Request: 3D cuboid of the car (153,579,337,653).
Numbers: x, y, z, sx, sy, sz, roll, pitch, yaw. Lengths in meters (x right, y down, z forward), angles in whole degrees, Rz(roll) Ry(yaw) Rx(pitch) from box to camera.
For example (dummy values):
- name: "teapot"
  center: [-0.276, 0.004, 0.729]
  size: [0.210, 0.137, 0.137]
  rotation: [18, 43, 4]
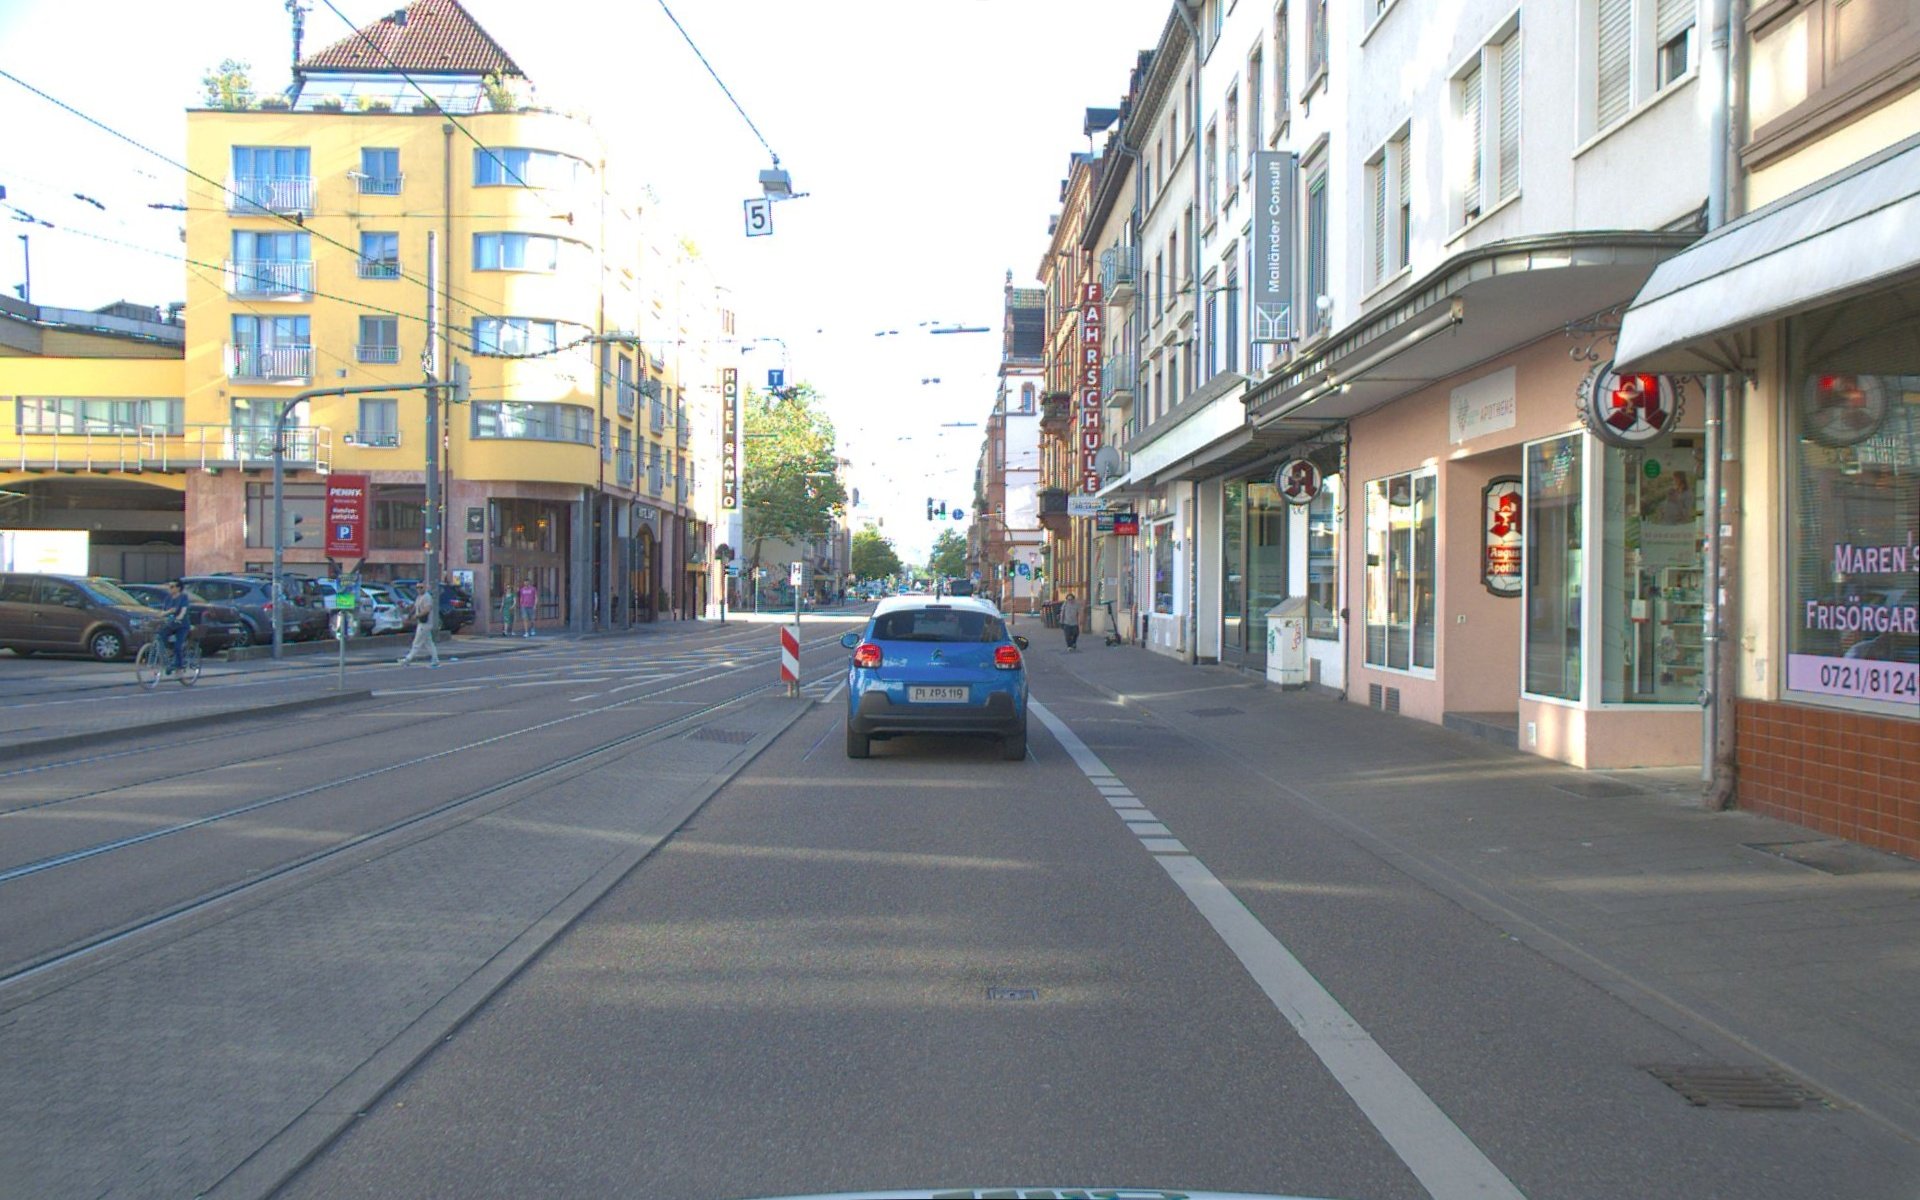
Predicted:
- name: "car"
  center: [-17.136, 0.372, 39.770]
  size: [3.614, 1.702, 1.785]
  rotation: [0, 0, -1]

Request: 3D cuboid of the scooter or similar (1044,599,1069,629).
- name: "scooter or similar"
  center: [3.999, 0.575, 68.478]
  size: [0.915, 1.168, 0.650]
  rotation: [-4, 0, -3]

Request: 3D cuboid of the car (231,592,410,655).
- name: "car"
  center: [-17.294, 0.637, 44.854]
  size: [4.147, 1.638, 1.785]
  rotation: [-1, -1, -1]

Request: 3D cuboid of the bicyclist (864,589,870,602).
- name: "bicyclist"
  center: [-10.693, -0.504, 190.866]
  size: [0.668, 1.509, 0.778]
  rotation: [0, 0, -2]

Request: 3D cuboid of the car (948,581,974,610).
- name: "car"
  center: [0.103, -0.413, 149.769]
  size: [2.225, 2.479, 5.718]
  rotation: [0, 0, -1]

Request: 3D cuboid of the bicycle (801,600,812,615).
- name: "bicycle"
  center: [-11.516, 0.536, 123.886]
  size: [0.716, 1.084, 2.061]
  rotation: [0, 0, -3]

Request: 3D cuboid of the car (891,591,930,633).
- name: "car"
  center: [-2.495, 0.580, 83.634]
  size: [1.953, 2.049, 3.999]
  rotation: [0, 0, -2]

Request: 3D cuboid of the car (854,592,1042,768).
- name: "car"
  center: [-0.119, 0.696, 16.584]
  size: [1.640, 1.503, 4.000]
  rotation: [-1, 0, 0]

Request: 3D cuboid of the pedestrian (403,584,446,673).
- name: "pedestrian"
  center: [-11.021, 0.581, 34.029]
  size: [0.700, 1.795, 0.779]
  rotation: [0, 0, -8]

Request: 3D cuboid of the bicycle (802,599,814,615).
- name: "bicycle"
  center: [-10.852, 0.515, 117.909]
  size: [0.716, 1.107, 2.060]
  rotation: [0, 0, -3]

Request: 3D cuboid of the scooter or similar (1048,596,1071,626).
- name: "scooter or similar"
  center: [4.018, 0.449, 66.968]
  size: [0.775, 1.168, 0.789]
  rotation: [-4, 0, -3]

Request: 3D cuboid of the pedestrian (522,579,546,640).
- name: "pedestrian"
  center: [-13.925, 0.319, 54.062]
  size: [0.624, 1.980, 0.709]
  rotation: [0, 0, -3]

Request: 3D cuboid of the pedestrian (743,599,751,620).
- name: "pedestrian"
  center: [-15.821, 0.711, 123.086]
  size: [0.531, 1.579, 0.516]
  rotation: [0, 0, -3]

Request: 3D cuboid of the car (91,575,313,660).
- name: "car"
  center: [-16.992, 0.376, 37.198]
  size: [4.147, 1.843, 1.785]
  rotation: [0, 0, -1]

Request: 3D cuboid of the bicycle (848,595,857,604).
- name: "bicycle"
  center: [-15.614, -0.090, 240.979]
  size: [1.099, 1.342, 3.639]
  rotation: [0, 0, -7]

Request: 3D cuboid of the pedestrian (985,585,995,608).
- name: "pedestrian"
  center: [2.437, -0.280, 132.844]
  size: [0.691, 1.814, 0.672]
  rotation: [2, -2, -3]

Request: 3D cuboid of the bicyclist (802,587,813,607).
- name: "bicyclist"
  center: [-10.824, -0.215, 117.637]
  size: [0.709, 1.405, 1.227]
  rotation: [1, 1, -3]

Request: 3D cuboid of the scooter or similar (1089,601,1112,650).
- name: "scooter or similar"
  center: [3.840, 0.693, 45.144]
  size: [0.401, 1.304, 1.284]
  rotation: [0, 0, 15]

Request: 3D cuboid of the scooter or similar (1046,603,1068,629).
- name: "scooter or similar"
  center: [3.970, 0.659, 67.800]
  size: [0.775, 0.974, 0.680]
  rotation: [-4, 0, -3]

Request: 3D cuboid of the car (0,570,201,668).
- name: "car"
  center: [-17.314, 0.345, 32.243]
  size: [4.147, 1.794, 1.785]
  rotation: [1, 0, -1]

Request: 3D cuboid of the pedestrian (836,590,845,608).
- name: "pedestrian"
  center: [-11.668, -0.100, 161.701]
  size: [0.668, 1.796, 1.026]
  rotation: [0, 0, 9]

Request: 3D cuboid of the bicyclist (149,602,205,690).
- name: "bicyclist"
  center: [-12.605, 0.727, 26.625]
  size: [0.551, 1.385, 0.719]
  rotation: [0, 0, -1]

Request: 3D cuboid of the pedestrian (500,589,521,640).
- name: "pedestrian"
  center: [-14.689, 0.479, 54.029]
  size: [0.560, 1.645, 0.499]
  rotation: [0, 0, -3]

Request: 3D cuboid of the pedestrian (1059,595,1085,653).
- name: "pedestrian"
  center: [3.061, 0.647, 45.201]
  size: [0.635, 1.588, 0.781]
  rotation: [0, 0, -3]

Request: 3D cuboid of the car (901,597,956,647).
- name: "car"
  center: [-1.014, 0.656, 51.551]
  size: [1.633, 1.504, 3.998]
  rotation: [0, 0, -2]

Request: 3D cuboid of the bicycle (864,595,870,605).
- name: "bicycle"
  center: [-10.709, 0.037, 191.012]
  size: [0.679, 1.140, 2.083]
  rotation: [0, 0, -2]

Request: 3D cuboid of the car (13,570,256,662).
- name: "car"
  center: [-17.178, 0.330, 34.543]
  size: [4.147, 1.843, 1.785]
  rotation: [0, 0, -1]

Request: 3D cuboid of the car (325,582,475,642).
- name: "car"
  center: [-17.813, 0.368, 52.744]
  size: [4.147, 1.843, 1.785]
  rotation: [0, 0, -1]

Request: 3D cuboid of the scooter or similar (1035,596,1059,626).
- name: "scooter or similar"
  center: [3.656, 0.454, 69.307]
  size: [0.879, 1.168, 0.547]
  rotation: [-4, 0, -3]

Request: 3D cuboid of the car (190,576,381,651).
- name: "car"
  center: [-17.238, 0.371, 42.419]
  size: [4.147, 1.844, 1.784]
  rotation: [-1, -2, -1]

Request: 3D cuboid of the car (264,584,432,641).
- name: "car"
  center: [-17.560, 0.373, 47.607]
  size: [4.147, 1.575, 1.784]
  rotation: [-1, -2, -1]

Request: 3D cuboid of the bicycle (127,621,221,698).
- name: "bicycle"
  center: [-12.610, 0.937, 26.590]
  size: [0.552, 1.143, 2.004]
  rotation: [1, 1, 0]

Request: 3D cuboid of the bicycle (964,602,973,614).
- name: "bicycle"
  center: [0.663, 0.625, 129.308]
  size: [0.423, 0.964, 1.760]
  rotation: [0, 0, -8]
